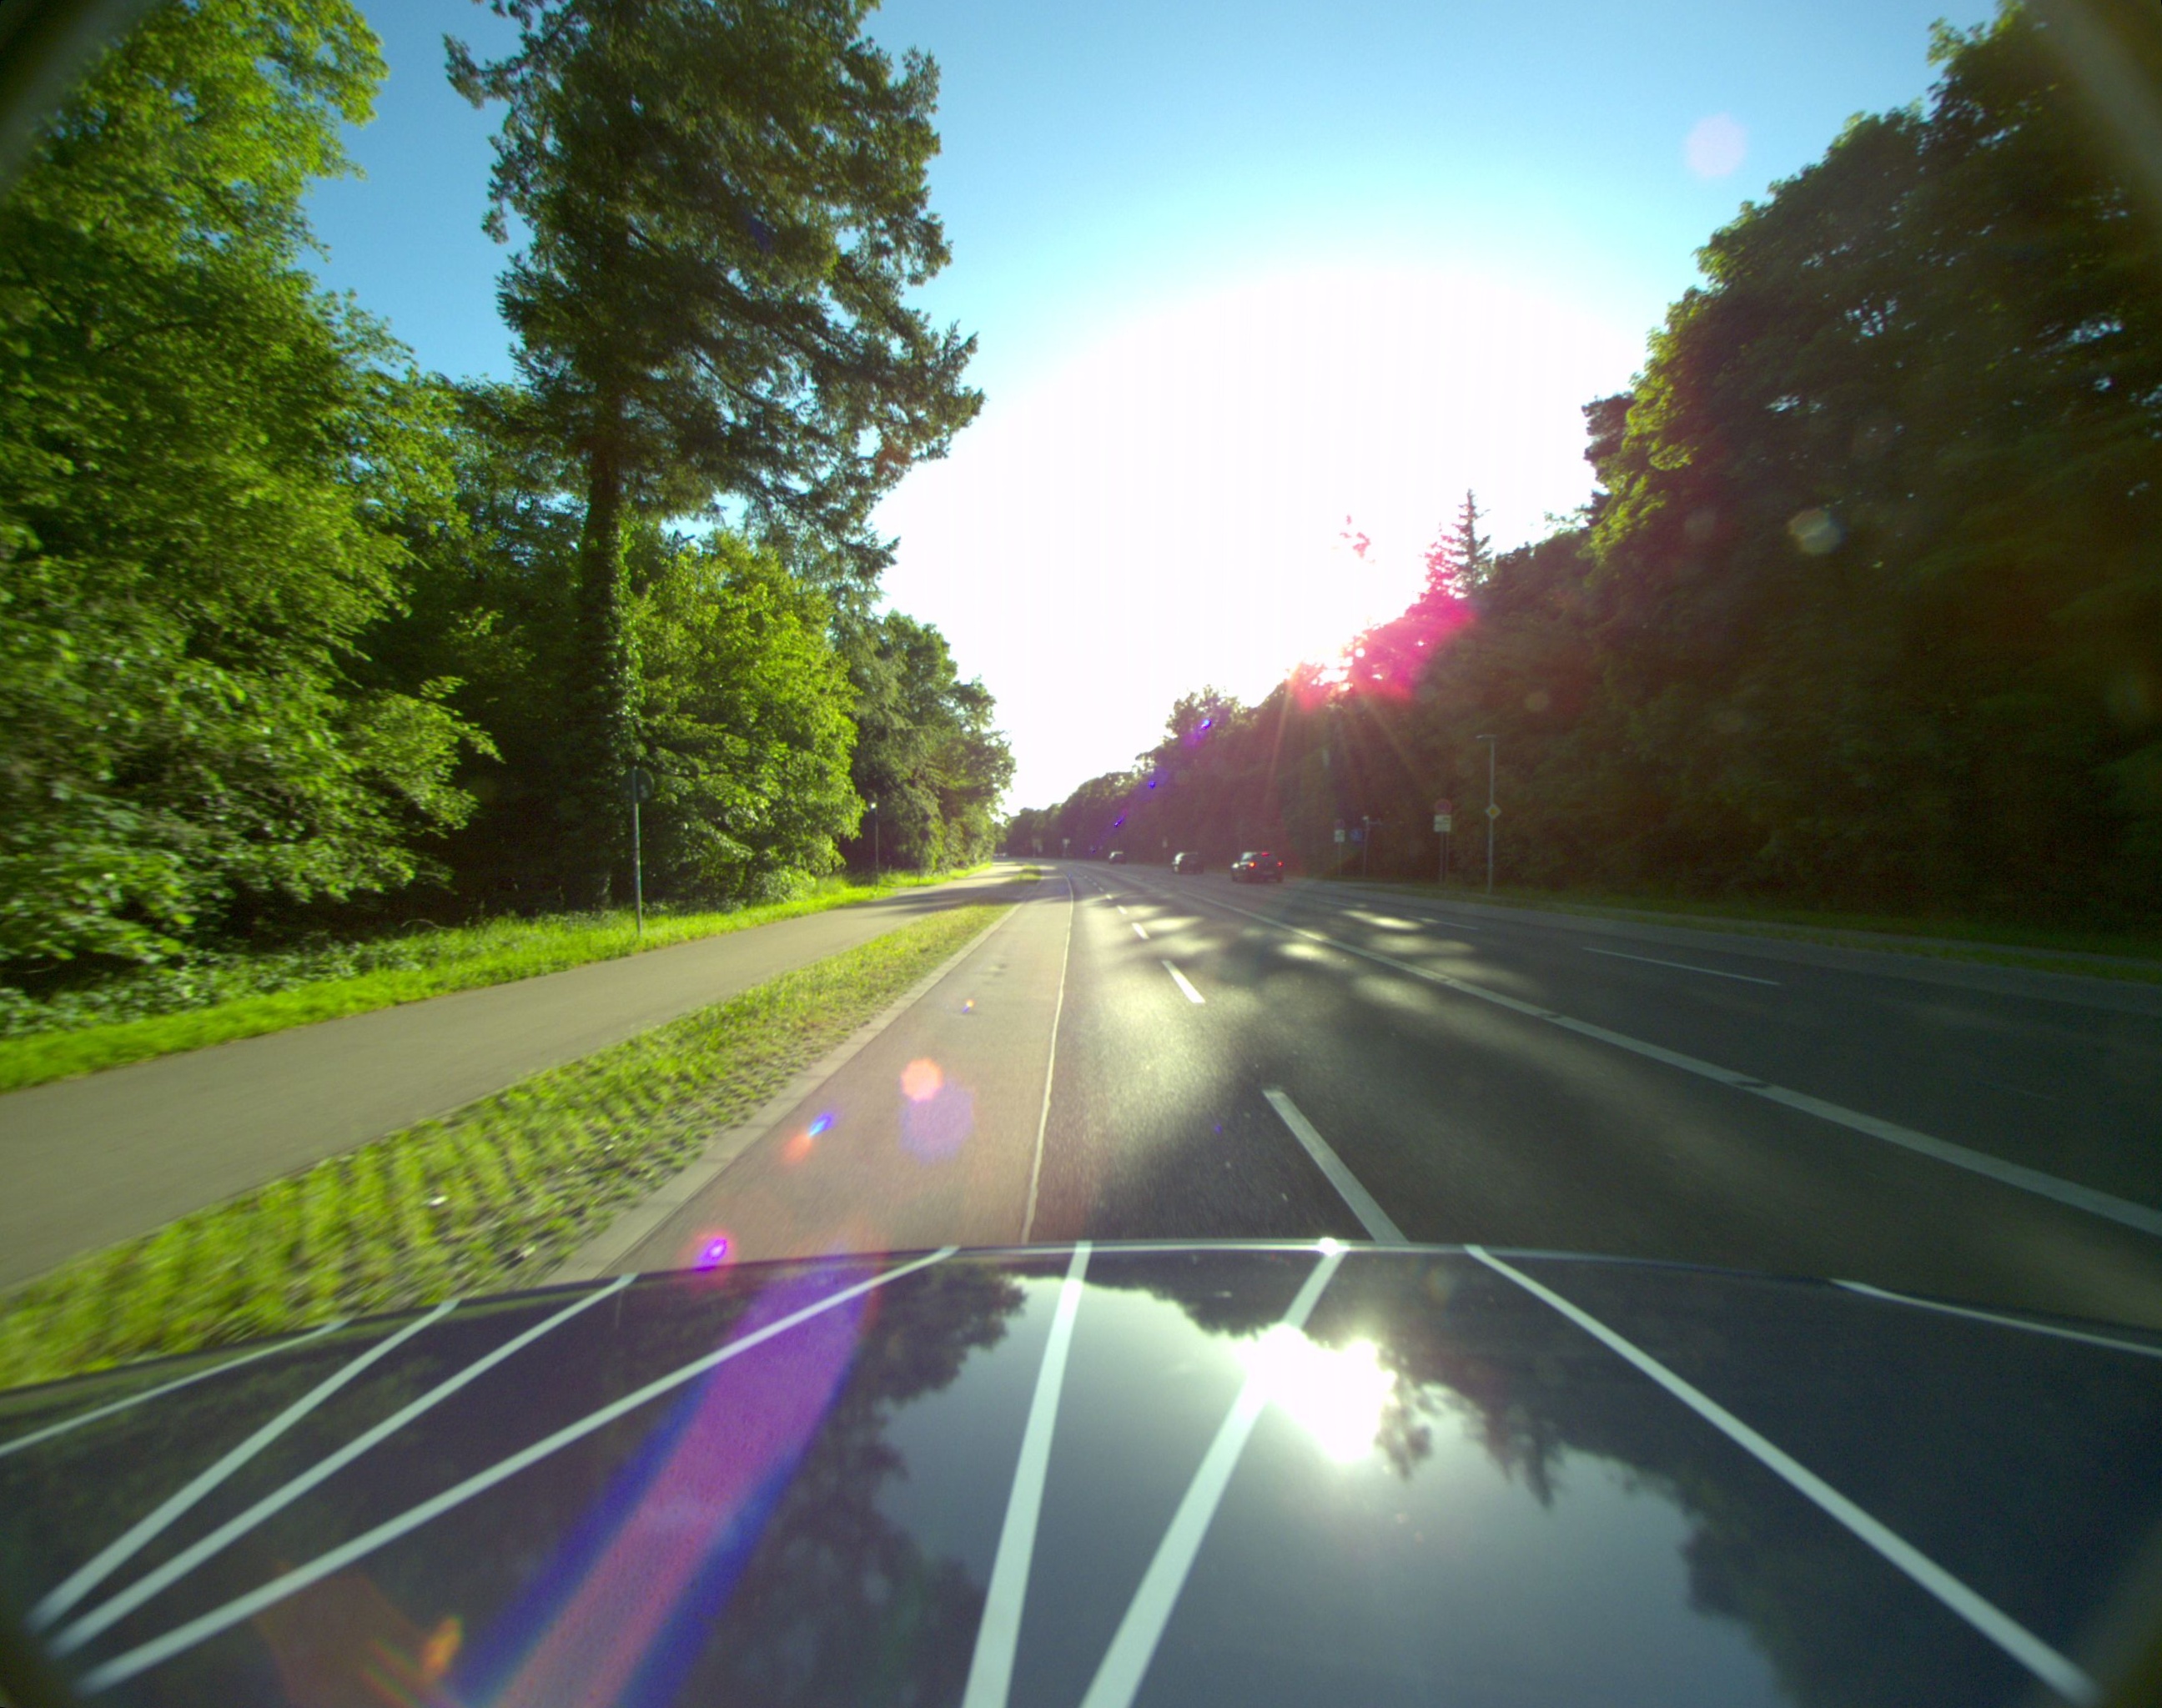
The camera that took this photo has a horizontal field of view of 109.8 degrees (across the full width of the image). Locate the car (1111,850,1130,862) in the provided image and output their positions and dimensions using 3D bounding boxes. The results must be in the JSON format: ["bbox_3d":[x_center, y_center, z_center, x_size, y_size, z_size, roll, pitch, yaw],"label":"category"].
[{"bbox_3d":[5.210,0.218,100.059,1.901,1.601,4.447,0,0,-4],"label":"car"}]

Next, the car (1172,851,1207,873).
[{"bbox_3d":[7.614,0.534,53.576,1.743,1.449,3.998,-2,0,-2],"label":"car"}]

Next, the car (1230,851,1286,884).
[{"bbox_3d":[8.450,0.609,36.677,1.661,1.472,4.172,-1,0,-1],"label":"car"}]
